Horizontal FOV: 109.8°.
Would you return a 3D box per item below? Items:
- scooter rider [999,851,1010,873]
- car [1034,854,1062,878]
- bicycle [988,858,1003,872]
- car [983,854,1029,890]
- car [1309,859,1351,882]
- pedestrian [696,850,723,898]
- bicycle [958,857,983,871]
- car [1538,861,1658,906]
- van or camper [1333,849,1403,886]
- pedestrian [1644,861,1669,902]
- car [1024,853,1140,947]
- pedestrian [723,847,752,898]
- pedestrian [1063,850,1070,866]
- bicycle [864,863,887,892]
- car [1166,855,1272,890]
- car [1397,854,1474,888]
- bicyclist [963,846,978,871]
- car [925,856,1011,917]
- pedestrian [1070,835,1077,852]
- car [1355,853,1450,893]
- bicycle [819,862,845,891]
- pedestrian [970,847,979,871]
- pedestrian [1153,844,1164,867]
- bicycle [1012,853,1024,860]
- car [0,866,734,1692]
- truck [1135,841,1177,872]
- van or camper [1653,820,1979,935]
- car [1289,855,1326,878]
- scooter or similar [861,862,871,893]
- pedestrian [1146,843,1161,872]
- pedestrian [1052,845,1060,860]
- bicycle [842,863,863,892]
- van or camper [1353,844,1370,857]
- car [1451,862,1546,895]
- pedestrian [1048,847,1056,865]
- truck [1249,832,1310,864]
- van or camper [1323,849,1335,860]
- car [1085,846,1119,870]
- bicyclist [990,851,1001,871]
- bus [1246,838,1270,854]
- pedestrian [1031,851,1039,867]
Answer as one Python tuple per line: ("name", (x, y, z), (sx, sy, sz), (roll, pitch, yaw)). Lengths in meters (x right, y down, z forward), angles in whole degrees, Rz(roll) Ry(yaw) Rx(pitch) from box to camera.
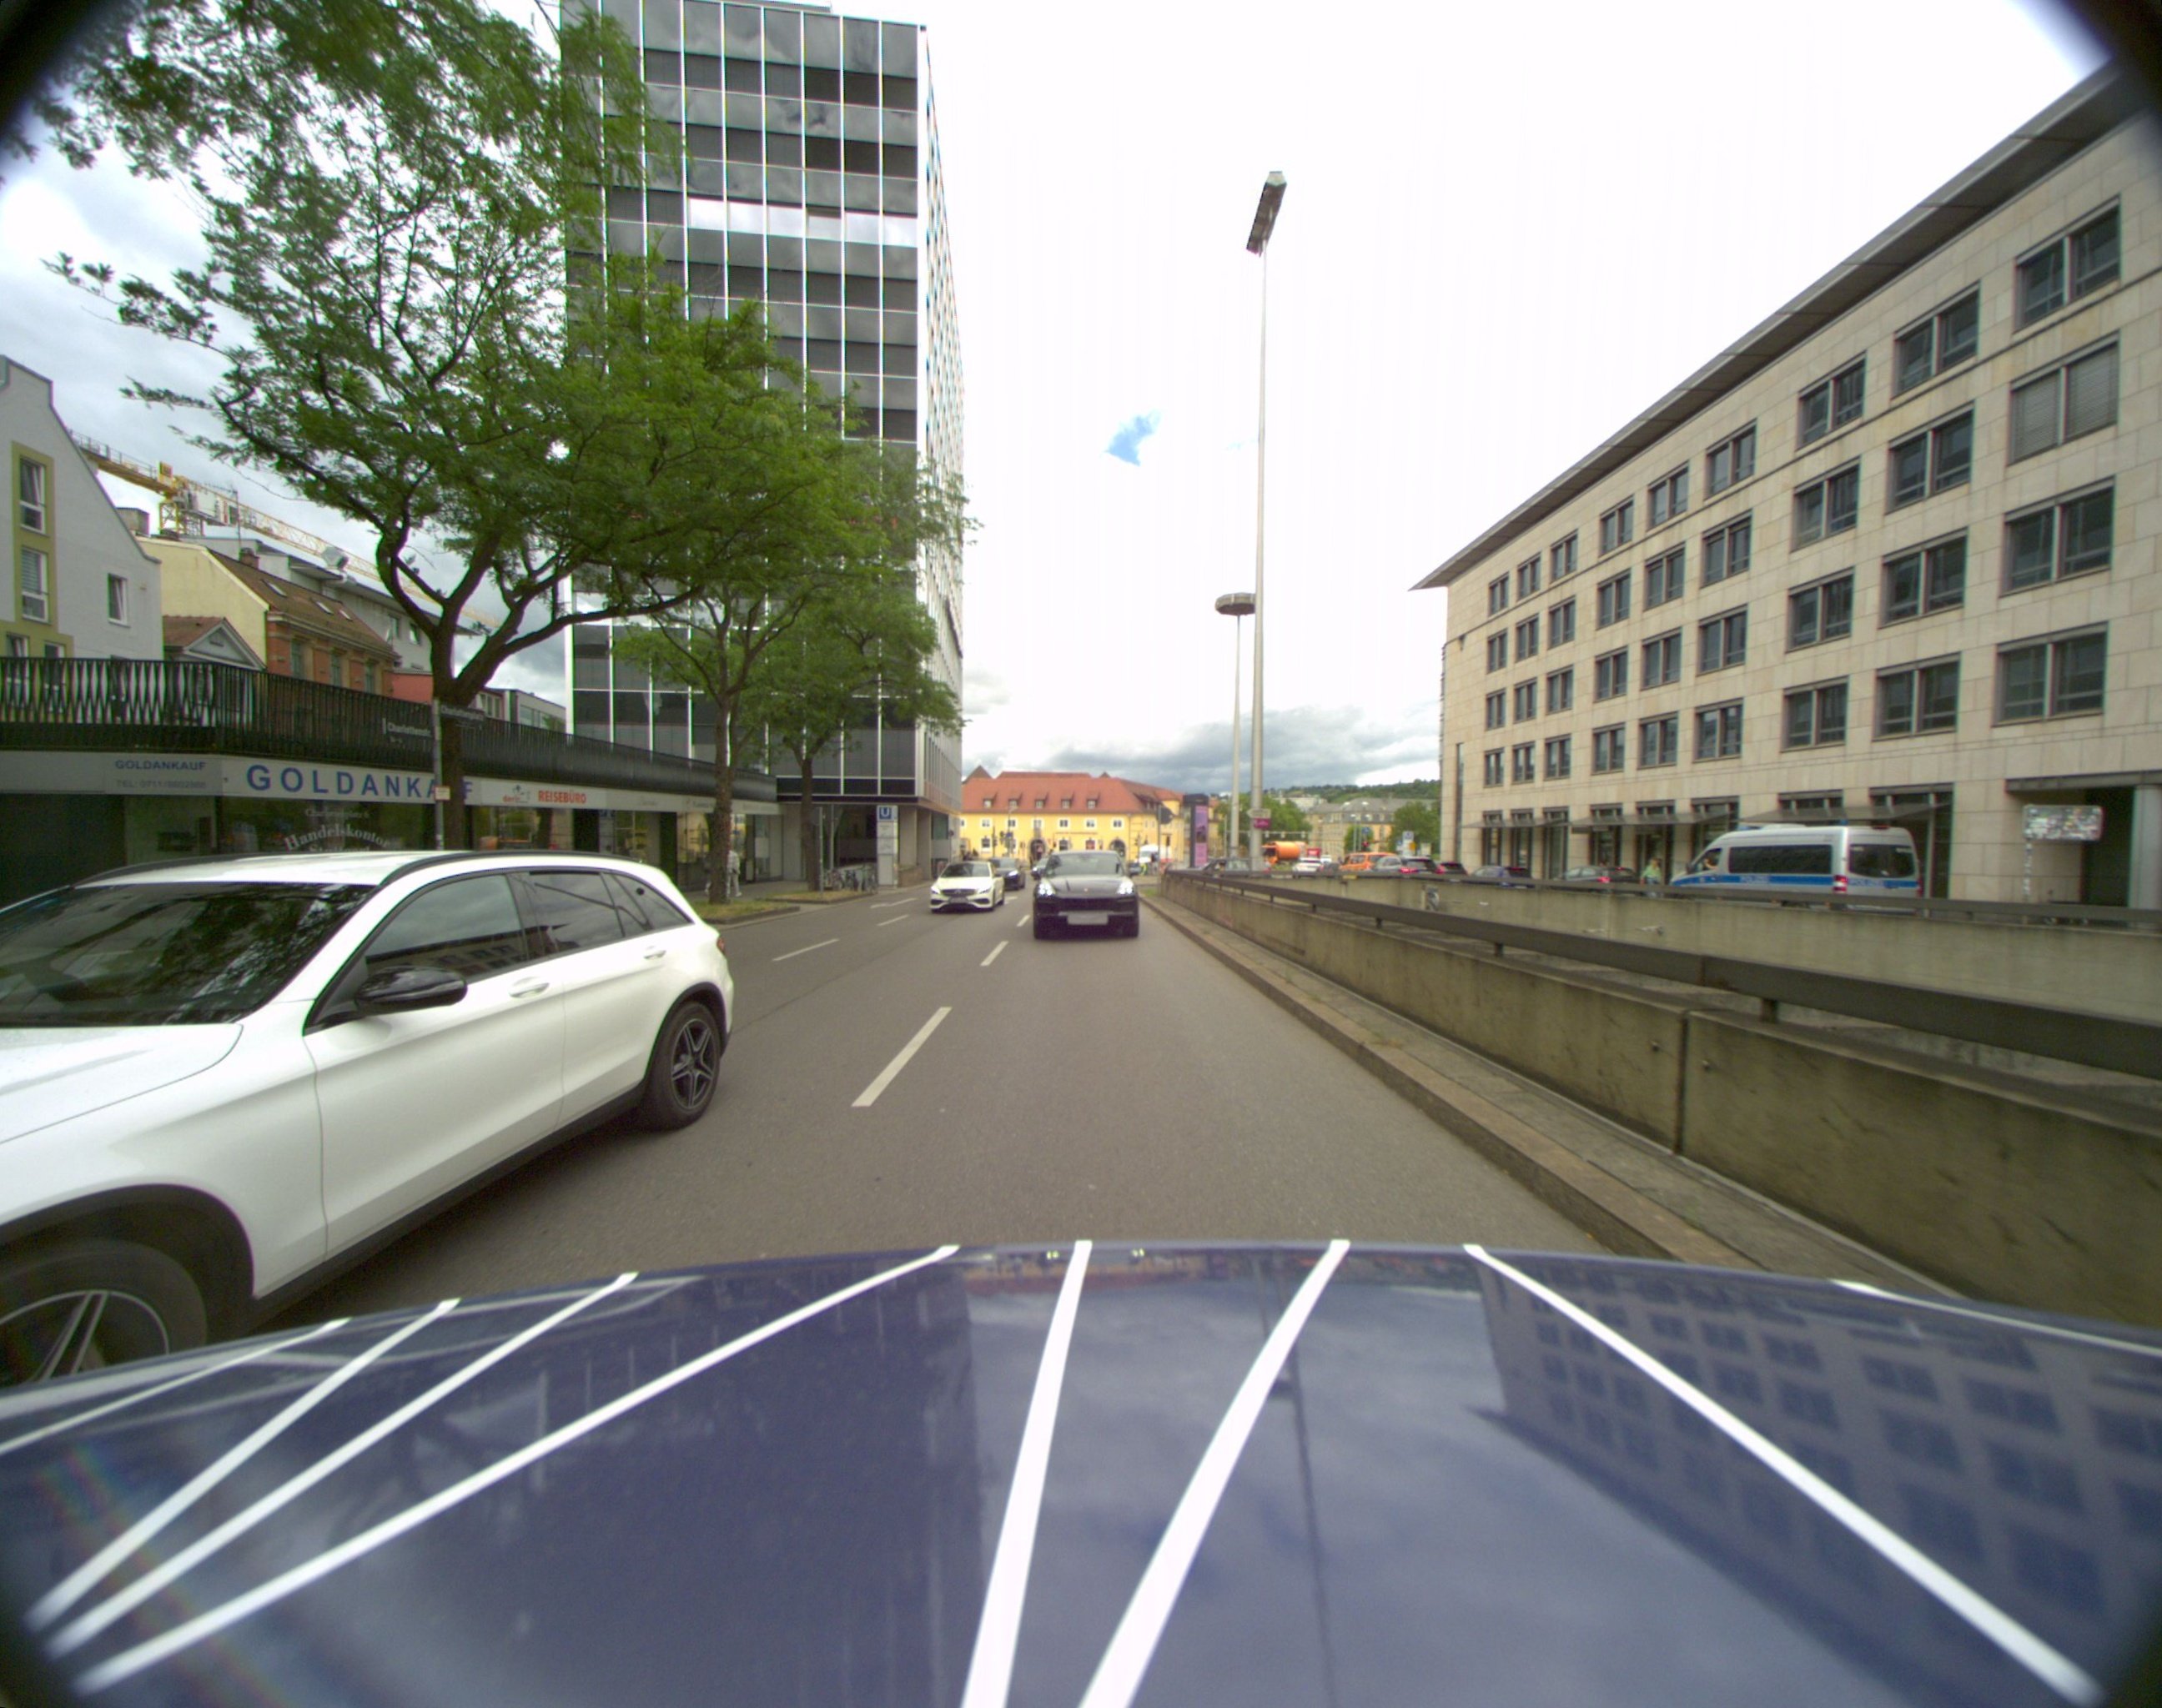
("scooter rider", (-6.125, 0.637, 60.695), (0.594, 1.798, 0.641), (0, 2, -41))
("car", (-2.213, 0.786, 51.271), (1.707, 1.524, 3.763), (1, 0, 0))
("bicycle", (-6.743, 0.830, 59.627), (0.582, 1.021, 1.665), (1, 1, -28))
("car", (-3.369, 0.797, 34.719), (1.707, 1.524, 3.763), (1, 0, 0))
("car", (16.113, 1.029, 49.370), (1.560, 1.371, 3.633), (2, 0, 1))
("pedestrian", (-12.944, 0.679, 26.465), (0.597, 1.619, 0.757), (1, 1, -5))
("bicycle", (-8.441, 0.782, 57.973), (1.763, 1.001, 0.682), (2, -1, 26))
("car", (19.616, 1.062, 29.070), (1.773, 1.440, 4.030), (2, 1, 0))
("van or camper", (15.941, 0.689, 42.506), (1.918, 1.910, 5.083), (2, 1, 0))
("pedestrian", (22.686, 1.071, 29.946), (0.501, 1.615, 0.627), (0, 1, 0))
("car", (0.091, 0.814, 15.756), (2.004, 1.628, 5.021), (0, 0, 2))
("pedestrian", (-11.974, 0.629, 26.507), (0.597, 1.744, 0.940), (1, 1, -5))
("pedestrian", (-1.632, 0.457, 84.910), (0.611, 1.786, 0.641), (0, 1, -23))
("bicycle", (-8.440, 0.940, 31.256), (0.491, 1.126, 1.843), (0, 1, -1))
("car", (6.158, 0.802, 34.226), (4.559, 1.450, 1.882), (1, 1, 8))
("car", (19.373, 0.882, 41.752), (1.998, 1.636, 4.682), (2, 1, 0))
("bicyclist", (-8.450, 0.337, 57.970), (0.811, 1.835, 0.676), (2, 2, 26))
("car", (-3.281, 0.887, 22.929), (1.870, 1.560, 4.651), (-1, 1, 0))
("pedestrian", (-0.805, -1.211, 86.246), (0.611, 1.944, 0.642), (0, 1, -20))
("car", (13.232, 0.733, 31.610), (1.923, 1.518, 4.541), (0, 0, -1))
("bicycle", (-10.308, 0.919, 31.523), (0.490, 1.126, 1.688), (1, 1, 1))
("pedestrian", (-7.529, 0.352, 53.712), (0.526, 1.702, 0.752), (2, 3, -5))
("pedestrian", (6.236, 0.120, 61.171), (0.717, 1.780, 0.634), (4, 0, 0))
("bicycle", (-9.904, 0.411, 119.523), (1.769, 1.079, 0.622), (1, 1, 10))
("car", (-3.189, 0.931, 2.838), (1.806, 1.637, 4.333), (0, 1, 0))
("truck", (7.270, 0.252, 73.005), (1.951, 2.768, 5.800), (2, 1, 28))
("van or camper", (19.846, 0.541, 21.214), (3.009, 2.710, 6.245), (1, 0, 0))
("car", (16.559, 0.884, 55.678), (1.738, 1.589, 4.320), (1, 1, 5))
("scooter or similar", (-8.964, 0.974, 31.681), (0.307, 1.244, 0.995), (0, 1, -13))
("pedestrian", (5.436, 0.238, 57.244), (0.879, 2.160, 0.761), (1, 1, -18))
("pedestrian", (-2.776, -0.170, 84.432), (0.611, 1.686, 0.641), (0, 1, -23))
("bicycle", (-9.416, 0.934, 31.344), (0.491, 1.126, 1.886), (0, 1, -6))
("van or camper", (59.927, -0.706, 162.263), (2.143, 2.463, 6.166), (6, 2, 11))
("car", (19.433, 1.098, 35.601), (1.998, 1.387, 4.573), (1, 1, 1))
("pedestrian", (-3.084, 0.218, 81.326), (0.670, 1.852, 0.701), (0, 1, -21))
("truck", (25.064, -0.747, 95.643), (9.198, 3.597, 2.719), (0, 5, -43))
("van or camper", (46.508, 0.113, 142.485), (1.862, 1.905, 4.721), (0, 0, 22))
("car", (1.871, 0.294, 66.026), (1.857, 1.977, 4.647), (2, 1, 16))
("bicyclist", (-6.686, 0.528, 59.526), (0.566, 1.541, 0.844), (1, 2, -28))
("bus", (36.862, -1.551, 157.615), (3.428, 3.185, 13.082), (0, 0, 20))
("pedestrian", (-4.877, 0.557, 80.617), (0.802, 1.688, 0.547), (1, 1, -18))
